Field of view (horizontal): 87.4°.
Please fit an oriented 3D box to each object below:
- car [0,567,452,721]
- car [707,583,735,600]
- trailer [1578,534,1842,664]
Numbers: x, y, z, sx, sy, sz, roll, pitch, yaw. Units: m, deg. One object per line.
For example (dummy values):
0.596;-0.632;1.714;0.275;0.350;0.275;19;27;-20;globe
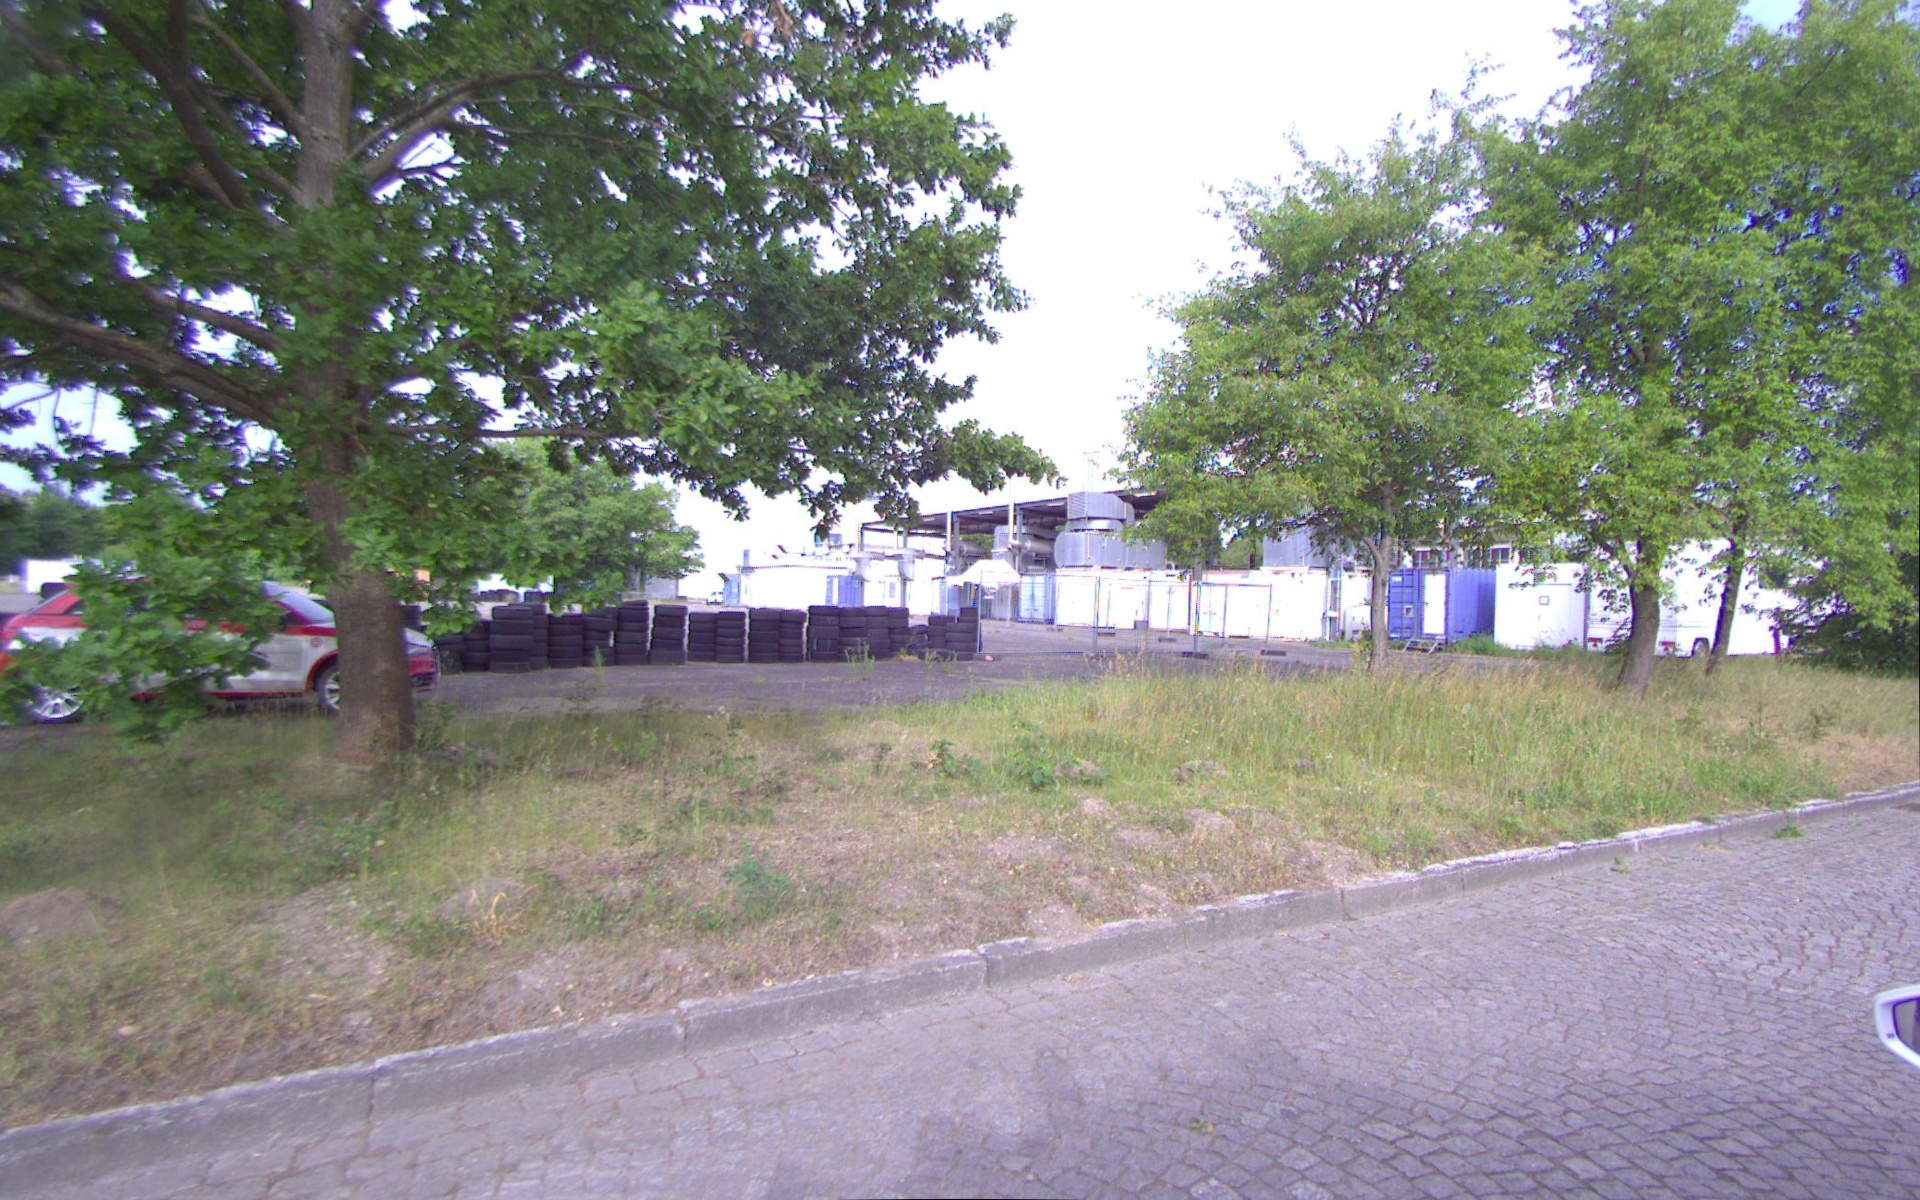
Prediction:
-7.845;0.428;10.967;4.008;1.453;1.620;1;1;-25;car
-25.115;-0.886;105.382;1.808;1.655;4.087;1;1;-29;car
23.757;0.058;31.605;10.050;3.646;2.614;1;1;-28;trailer
